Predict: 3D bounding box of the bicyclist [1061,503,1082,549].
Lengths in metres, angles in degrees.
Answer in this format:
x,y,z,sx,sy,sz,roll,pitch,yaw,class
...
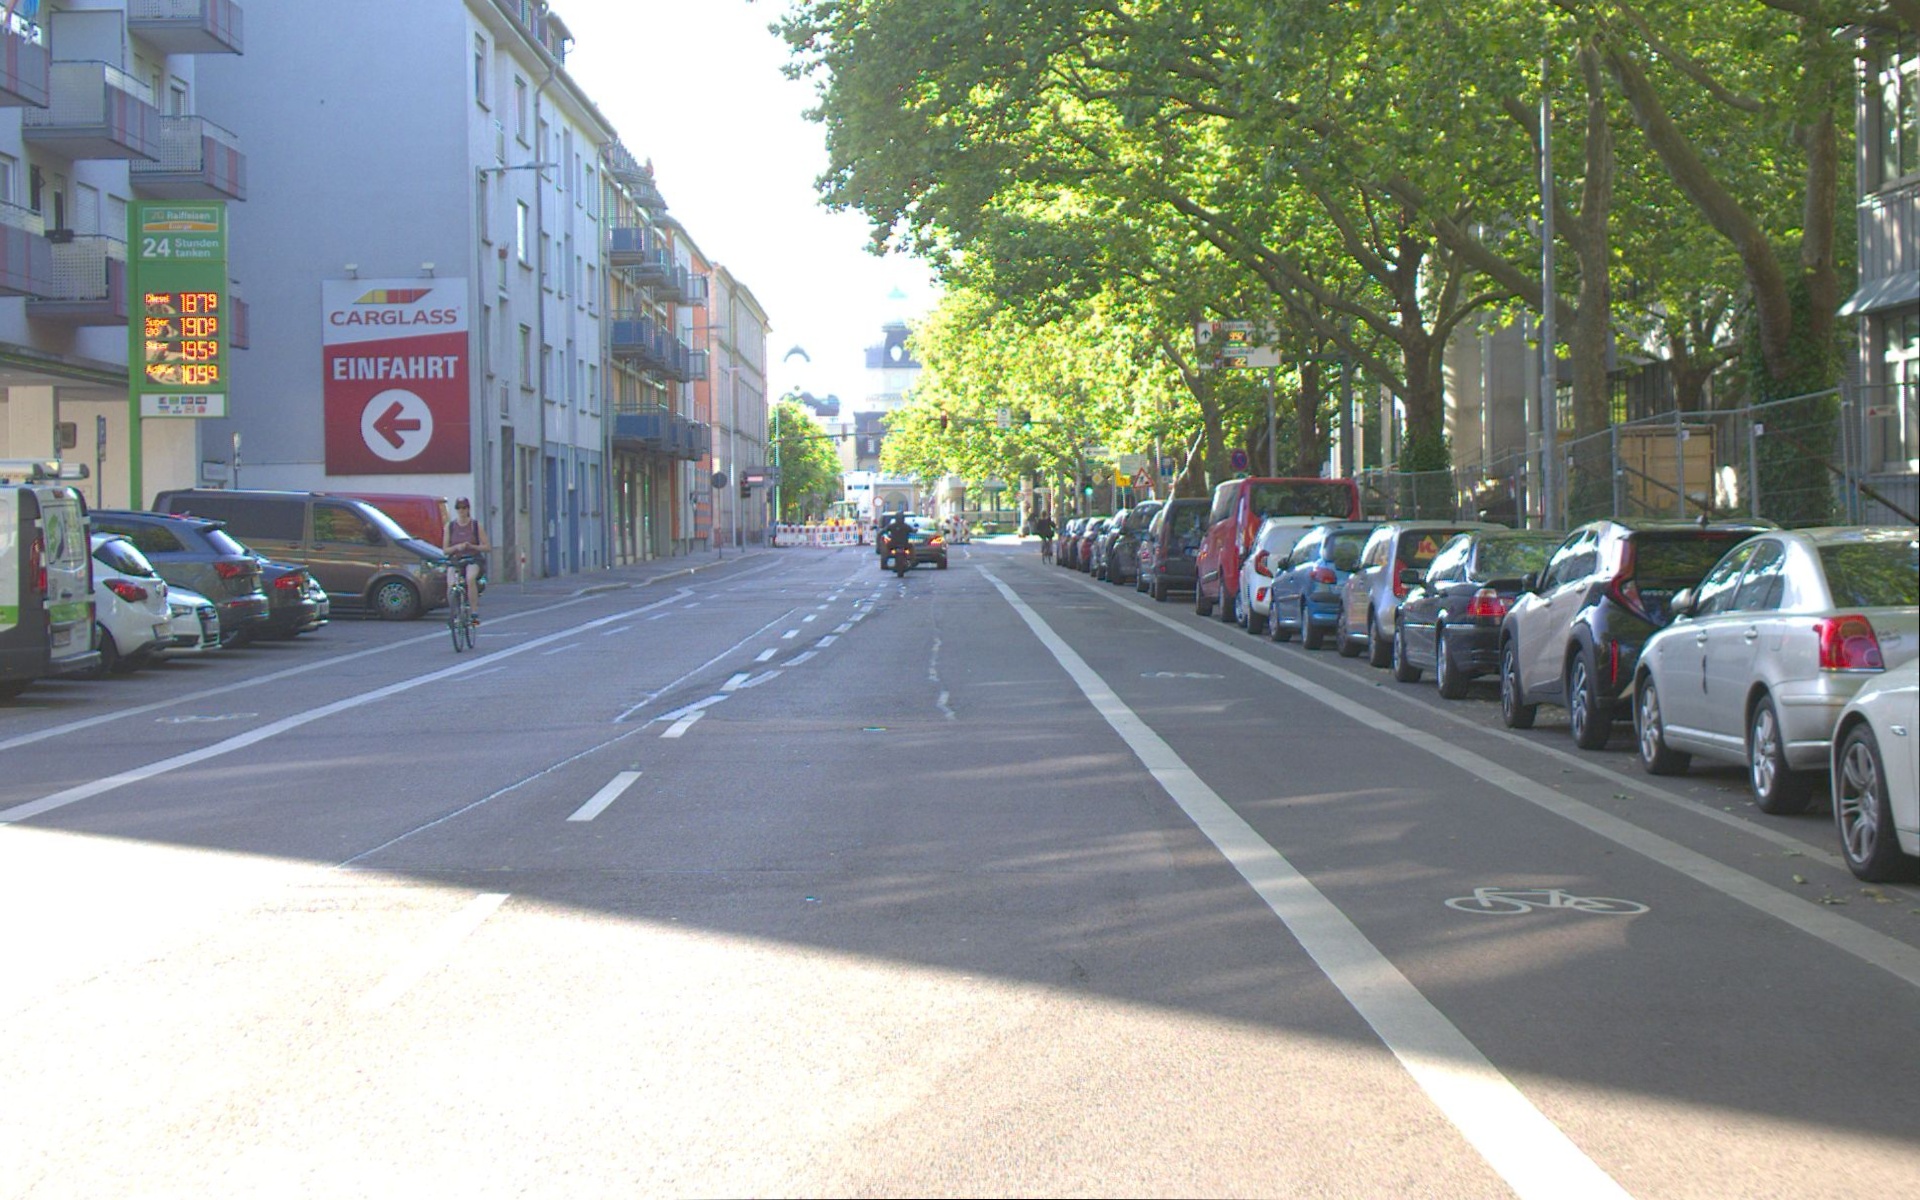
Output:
x,y,z,sx,sy,sz,roll,pitch,yaw,class
3.734,-2.493,115.329,0.656,1.525,0.906,0,1,-1,bicyclist

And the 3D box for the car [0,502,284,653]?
x,y,z,sx,sy,sz,roll,pitch,yaw,class
-10.065,-0.284,39.559,4.194,1.678,2.028,0,1,-1,car

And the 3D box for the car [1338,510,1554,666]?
x,y,z,sx,sy,sz,roll,pitch,yaw,class
4.957,-0.166,35.442,1.613,1.470,3.493,1,2,-1,car

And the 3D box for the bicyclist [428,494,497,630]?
x,y,z,sx,sy,sz,roll,pitch,yaw,class
-5.816,-0.449,40.242,0.607,1.539,0.934,-3,2,-1,bicyclist

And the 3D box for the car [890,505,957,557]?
x,y,z,sx,sy,sz,roll,pitch,yaw,class
-1.035,-1.962,96.686,1.828,1.415,3.815,-1,2,-1,car

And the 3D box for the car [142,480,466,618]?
x,y,z,sx,sy,sz,roll,pitch,yaw,class
-9.993,-0.796,52.618,4.522,1.945,2.057,1,2,0,car

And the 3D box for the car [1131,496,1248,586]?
x,y,z,sx,sy,sz,roll,pitch,yaw,class
4.311,-1.137,65.172,1.692,1.622,4.331,1,2,-3,car

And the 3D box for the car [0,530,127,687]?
x,y,z,sx,sy,sz,roll,pitch,yaw,class
-10.144,0.056,32.716,3.987,1.428,1.853,0,2,-1,car

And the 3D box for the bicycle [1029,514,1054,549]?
x,y,z,sx,sy,sz,roll,pitch,yaw,class
2.531,-2.120,106.920,0.656,1.066,1.927,0,1,-1,bicycle

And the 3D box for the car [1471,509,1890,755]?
x,y,z,sx,sy,sz,roll,pitch,yaw,class
4.803,0.143,23.548,1.855,1.517,4.298,0,2,-1,car

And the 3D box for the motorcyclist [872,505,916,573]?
x,y,z,sx,sy,sz,roll,pitch,yaw,class
-1.595,-1.485,82.956,1.012,1.596,1.406,-1,1,-1,motorcyclist

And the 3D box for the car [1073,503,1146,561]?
x,y,z,sx,sy,sz,roll,pitch,yaw,class
3.965,-1.822,91.706,1.693,1.474,4.319,1,2,-1,car

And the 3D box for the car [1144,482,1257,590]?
x,y,z,sx,sy,sz,roll,pitch,yaw,class
4.188,-1.142,60.346,1.693,1.806,4.130,1,1,1,car

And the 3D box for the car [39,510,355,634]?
x,y,z,sx,sy,sz,roll,pitch,yaw,class
-9.863,-0.385,44.640,3.685,1.508,1.831,1,1,-1,car

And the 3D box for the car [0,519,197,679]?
x,y,z,sx,sy,sz,roll,pitch,yaw,class
-9.938,-0.036,34.873,3.987,1.554,1.853,0,2,-1,car

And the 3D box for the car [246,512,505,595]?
x,y,z,sx,sy,sz,roll,pitch,yaw,class
-10.309,-0.832,60.897,4.228,1.375,2.046,1,1,0,car

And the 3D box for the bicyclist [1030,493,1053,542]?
x,y,z,sx,sy,sz,roll,pitch,yaw,class
2.538,-2.558,106.950,0.656,1.525,0.852,0,1,-1,bicyclist

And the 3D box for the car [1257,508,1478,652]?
x,y,z,sx,sy,sz,roll,pitch,yaw,class
4.663,-0.271,39.876,1.855,1.505,3.930,1,2,-3,car

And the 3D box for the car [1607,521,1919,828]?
x,y,z,sx,sy,sz,roll,pitch,yaw,class
4.927,0.305,18.636,1.855,1.431,4.603,0,2,-1,car

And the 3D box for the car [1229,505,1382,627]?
x,y,z,sx,sy,sz,roll,pitch,yaw,class
4.435,-0.475,44.585,1.637,1.480,3.760,1,2,1,car

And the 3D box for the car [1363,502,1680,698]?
x,y,z,sx,sy,sz,roll,pitch,yaw,class
4.739,-0.066,29.665,1.855,1.517,4.600,1,2,-1,car

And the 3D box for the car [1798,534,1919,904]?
x,y,z,sx,sy,sz,roll,pitch,yaw,class
4.735,0.494,12.528,1.855,1.431,4.971,0,2,-4,car

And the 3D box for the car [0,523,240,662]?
x,y,z,sx,sy,sz,roll,pitch,yaw,class
-9.934,-0.099,36.999,3.987,1.428,1.853,0,2,-1,car

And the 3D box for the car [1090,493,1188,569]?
x,y,z,sx,sy,sz,roll,pitch,yaw,class
3.996,-1.571,77.377,1.775,1.622,4.621,1,2,-2,car

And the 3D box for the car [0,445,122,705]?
x,y,z,sx,sy,sz,roll,pitch,yaw,class
-10.074,-0.267,30.335,4.844,2.209,2.140,1,1,-1,car

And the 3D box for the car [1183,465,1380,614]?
x,y,z,sx,sy,sz,roll,pitch,yaw,class
4.538,-0.890,49.290,2.078,1.987,5.172,1,2,-3,car

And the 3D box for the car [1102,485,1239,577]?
x,y,z,sx,sy,sz,roll,pitch,yaw,class
4.364,-1.466,71.964,1.824,1.835,4.901,1,2,-9,car

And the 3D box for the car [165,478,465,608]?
x,y,z,sx,sy,sz,roll,pitch,yaw,class
-10.370,-0.940,55.517,4.421,1.945,2.146,1,2,0,car

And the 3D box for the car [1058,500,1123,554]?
x,y,z,sx,sy,sz,roll,pitch,yaw,class
3.673,-2.086,97.193,1.693,1.461,4.066,1,2,0,car

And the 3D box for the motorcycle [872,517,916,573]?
x,y,z,sx,sy,sz,roll,pitch,yaw,class
-1.598,-1.349,82.934,1.012,1.302,2.673,-1,2,-1,motorcycle

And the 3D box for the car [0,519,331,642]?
x,y,z,sx,sy,sz,roll,pitch,yaw,class
-9.899,-0.261,42.314,3.987,1.450,1.916,0,2,-1,car

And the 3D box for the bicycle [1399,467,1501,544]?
x,y,z,sx,sy,sz,roll,pitch,yaw,class
13.141,-2.539,92.251,2.597,2.006,0.742,-1,1,0,bicycle

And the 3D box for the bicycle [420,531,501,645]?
x,y,z,sx,sy,sz,roll,pitch,yaw,class
-5.809,-0.158,40.065,0.607,1.235,2.050,-3,2,-1,bicycle
